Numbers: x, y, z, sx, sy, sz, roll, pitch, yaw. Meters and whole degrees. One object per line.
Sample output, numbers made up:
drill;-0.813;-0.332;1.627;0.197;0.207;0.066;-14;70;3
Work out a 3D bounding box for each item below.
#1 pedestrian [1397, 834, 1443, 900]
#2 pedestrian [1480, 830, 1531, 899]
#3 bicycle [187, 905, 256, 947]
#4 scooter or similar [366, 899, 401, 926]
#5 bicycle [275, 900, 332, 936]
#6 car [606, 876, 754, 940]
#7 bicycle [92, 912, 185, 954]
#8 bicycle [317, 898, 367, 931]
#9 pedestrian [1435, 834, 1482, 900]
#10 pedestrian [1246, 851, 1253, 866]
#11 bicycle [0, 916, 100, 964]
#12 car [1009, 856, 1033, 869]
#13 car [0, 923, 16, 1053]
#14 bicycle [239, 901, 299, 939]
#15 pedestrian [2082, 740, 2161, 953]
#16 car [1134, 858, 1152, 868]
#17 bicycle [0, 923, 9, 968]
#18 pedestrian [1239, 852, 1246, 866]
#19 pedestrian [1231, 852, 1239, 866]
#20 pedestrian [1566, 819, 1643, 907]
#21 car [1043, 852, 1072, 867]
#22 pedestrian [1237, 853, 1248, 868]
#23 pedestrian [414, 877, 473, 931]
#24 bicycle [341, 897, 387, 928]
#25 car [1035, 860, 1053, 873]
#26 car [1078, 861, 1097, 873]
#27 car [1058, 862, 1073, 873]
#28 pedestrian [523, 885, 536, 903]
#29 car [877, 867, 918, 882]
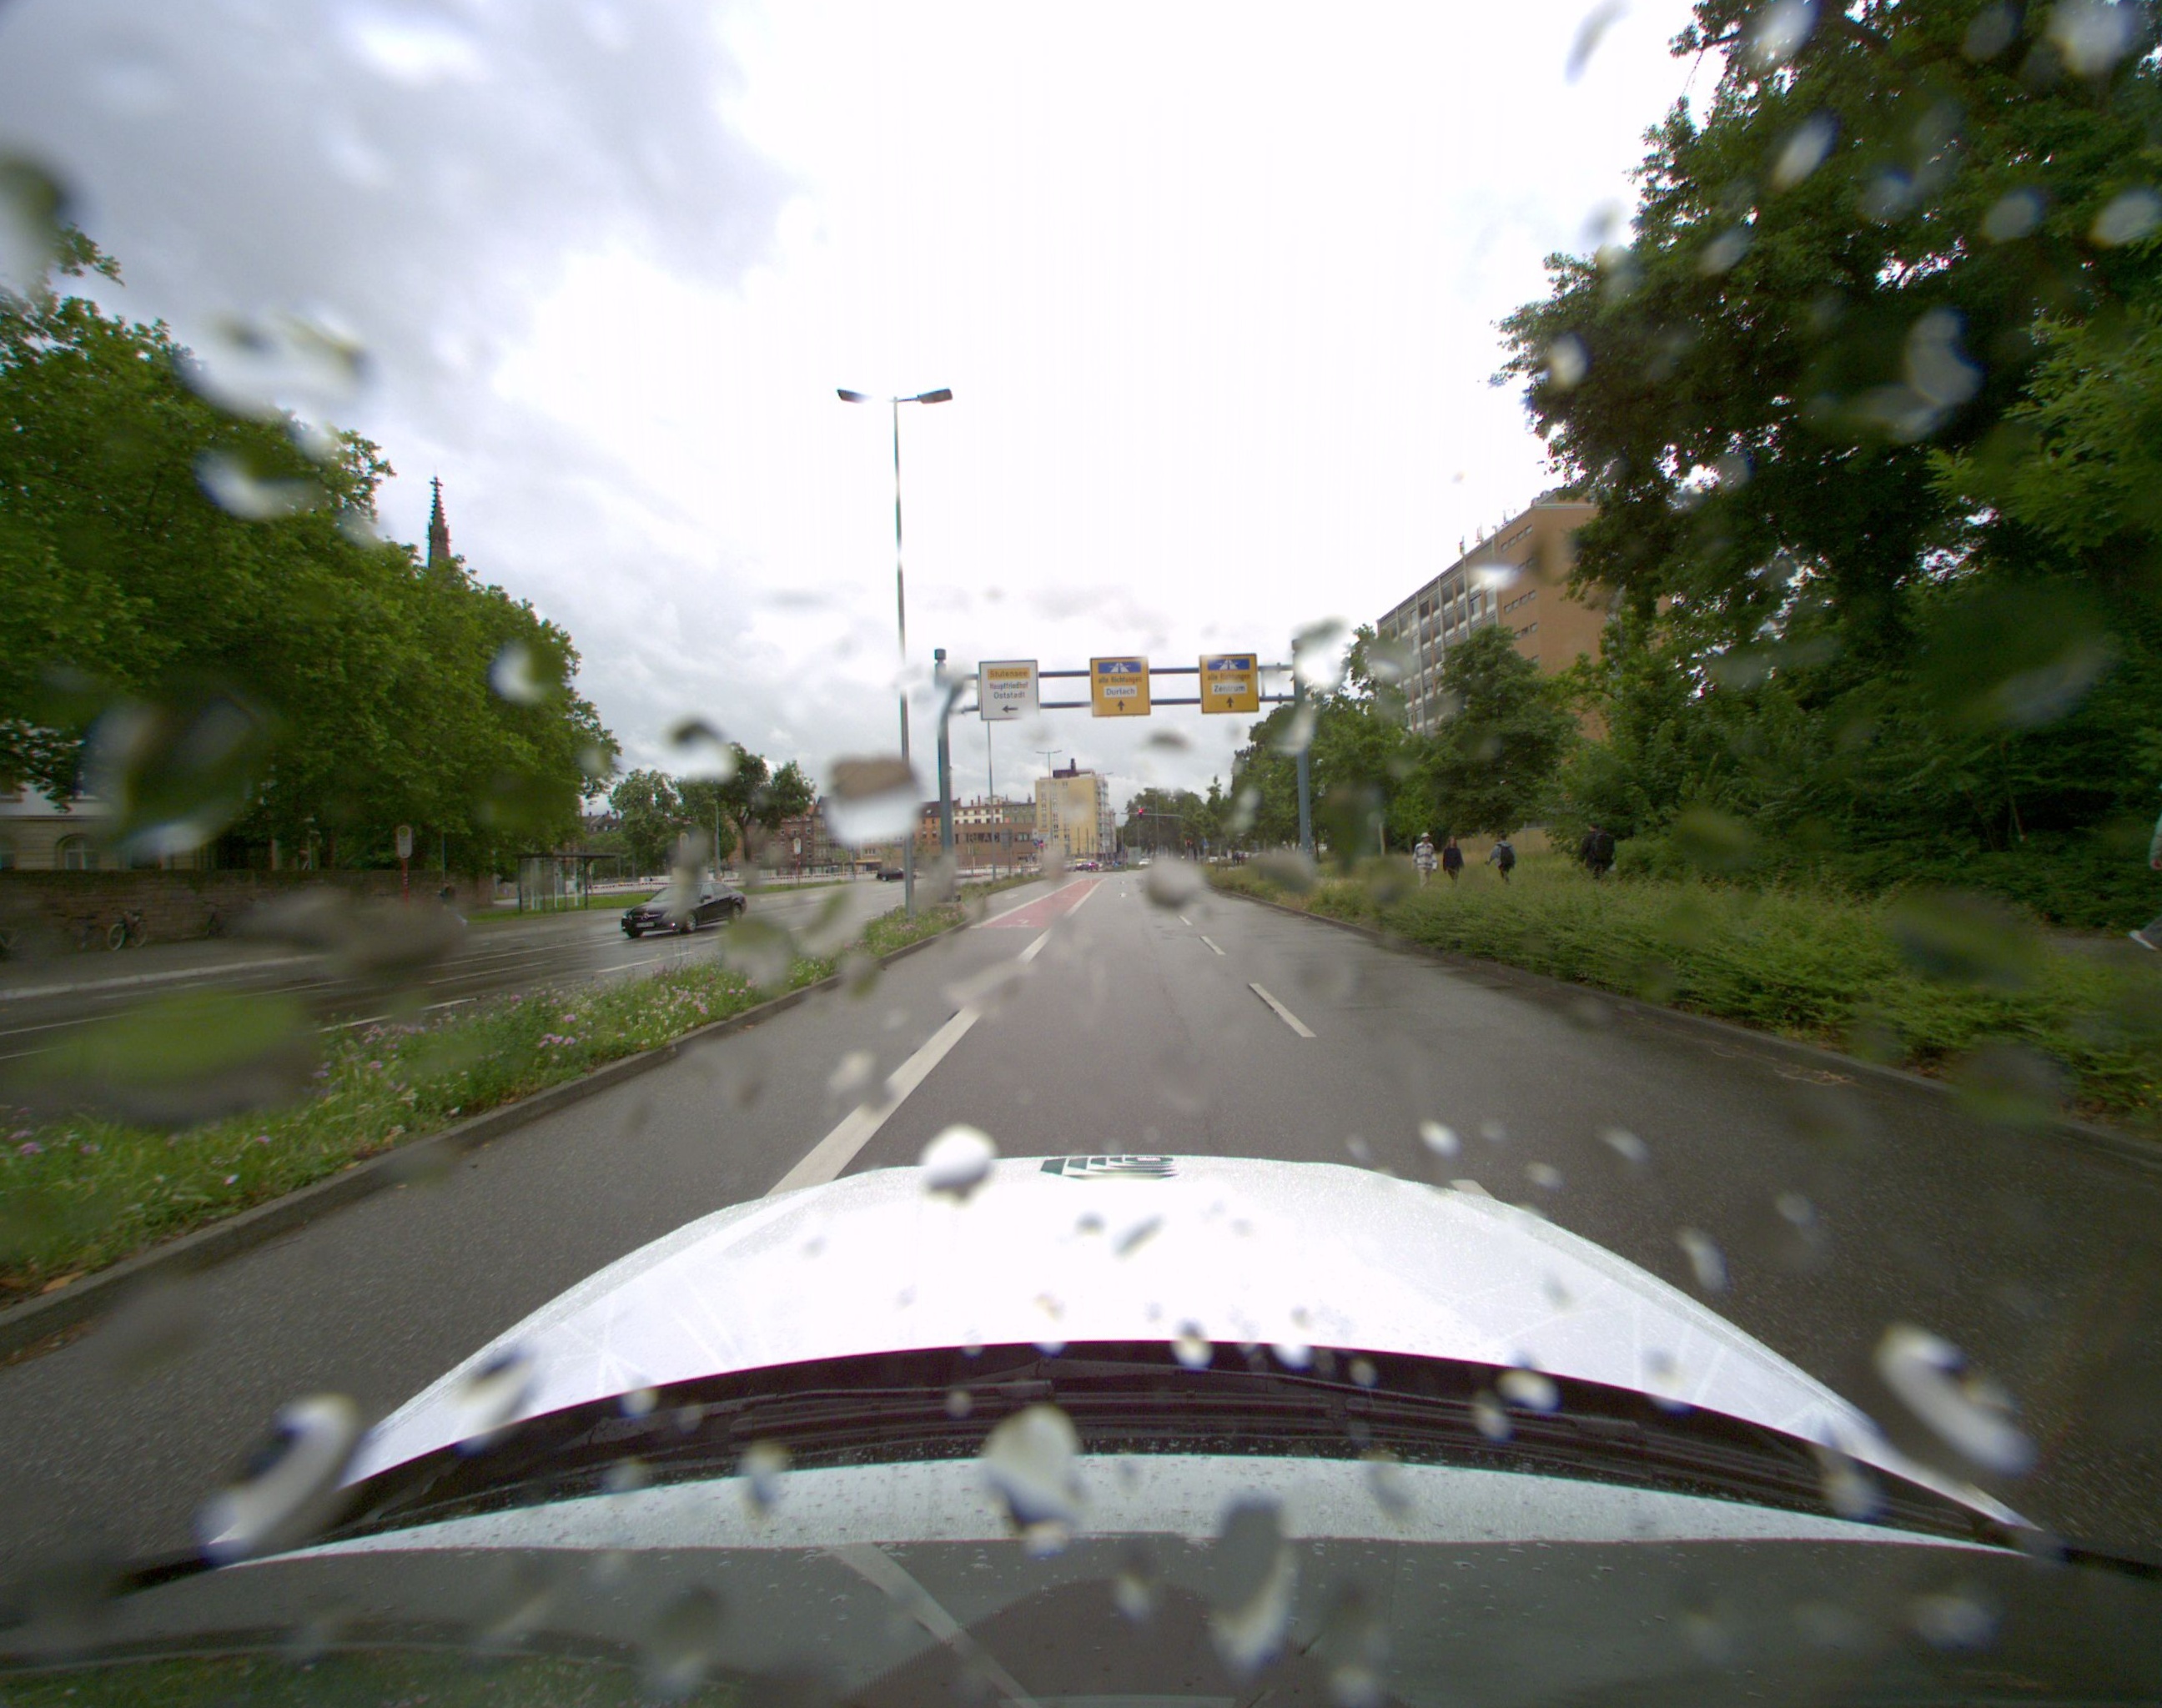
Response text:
pedestrian;9.171;0.335;22.069;0.928;1.720;0.830;-1;2;6
pedestrian;11.497;0.275;22.102;0.928;1.797;0.830;-3;0;7
bicycle;-26.942;2.246;25.576;0.574;1.136;1.979;-2;0;-18
scooter or similar;-30.196;2.507;35.251;0.573;1.047;1.355;-2;0;-14
bicycle;-28.416;2.327;29.789;0.574;1.136;1.981;-2;0;-14
car;-12.076;1.563;24.933;1.800;1.540;4.709;-4;0;5
bicycle;-26.055;2.173;22.558;0.731;0.983;1.695;-2;0;-10
bicycle;-28.988;2.359;31.982;0.574;1.136;1.981;-2;0;-14
pedestrian;10.115;0.332;21.850;0.928;1.703;0.830;-1;2;6
pedestrian;19.406;0.514;93.734;0.698;1.588;0.940;-2;-1;15
bicycle;-25.581;2.107;20.146;0.731;0.983;1.695;-2;0;-10
car;-15.097;2.100;204.940;5.321;2.887;2.344;-3;0;7
car;-12.802;1.529;7.065;1.617;1.415;4.068;-4;0;2
bicycle;-27.724;2.248;27.849;0.574;1.136;1.979;-2;0;-18
pedestrian;10.610;-0.086;7.860;0.786;2.013;0.830;-3;0;7
car;10.626;1.571;139.404;1.664;1.501;3.891;-4;0;25
bicycle;-24.518;2.064;17.555;0.731;0.983;1.695;-2;0;-10
pedestrian;18.671;0.546;93.964;0.698;1.588;0.940;-2;-1;15
pedestrian;17.827;0.588;94.400;0.748;1.588;0.940;-2;-1;15
pedestrian;10.940;0.187;17.054;0.928;1.747;1.048;-3;0;8
car;-5.871;1.379;203.586;6.705;3.380;2.815;-3;0;7
pedestrian;17.765;0.708;89.564;1.015;1.588;0.940;-2;-1;15
pedestrian;-21.108;1.637;27.000;0.867;1.695;1.397;-2;0;-5
bicycle;-29.790;2.426;33.868;0.574;1.136;1.981;-2;0;-14
car;-5.145;1.724;114.425;1.695;1.706;3.831;-2;0;10
car;0.953;1.879;119.116;1.982;1.636;4.613;-4;-1;8
car;-2.026;1.775;108.759;1.672;1.404;4.161;-3;0;3
pedestrian;-55.527;4.019;81.996;0.720;1.777;0.775;-3;-1;4
car;-20.163;2.220;89.539;4.180;1.402;1.617;-2;0;-2
